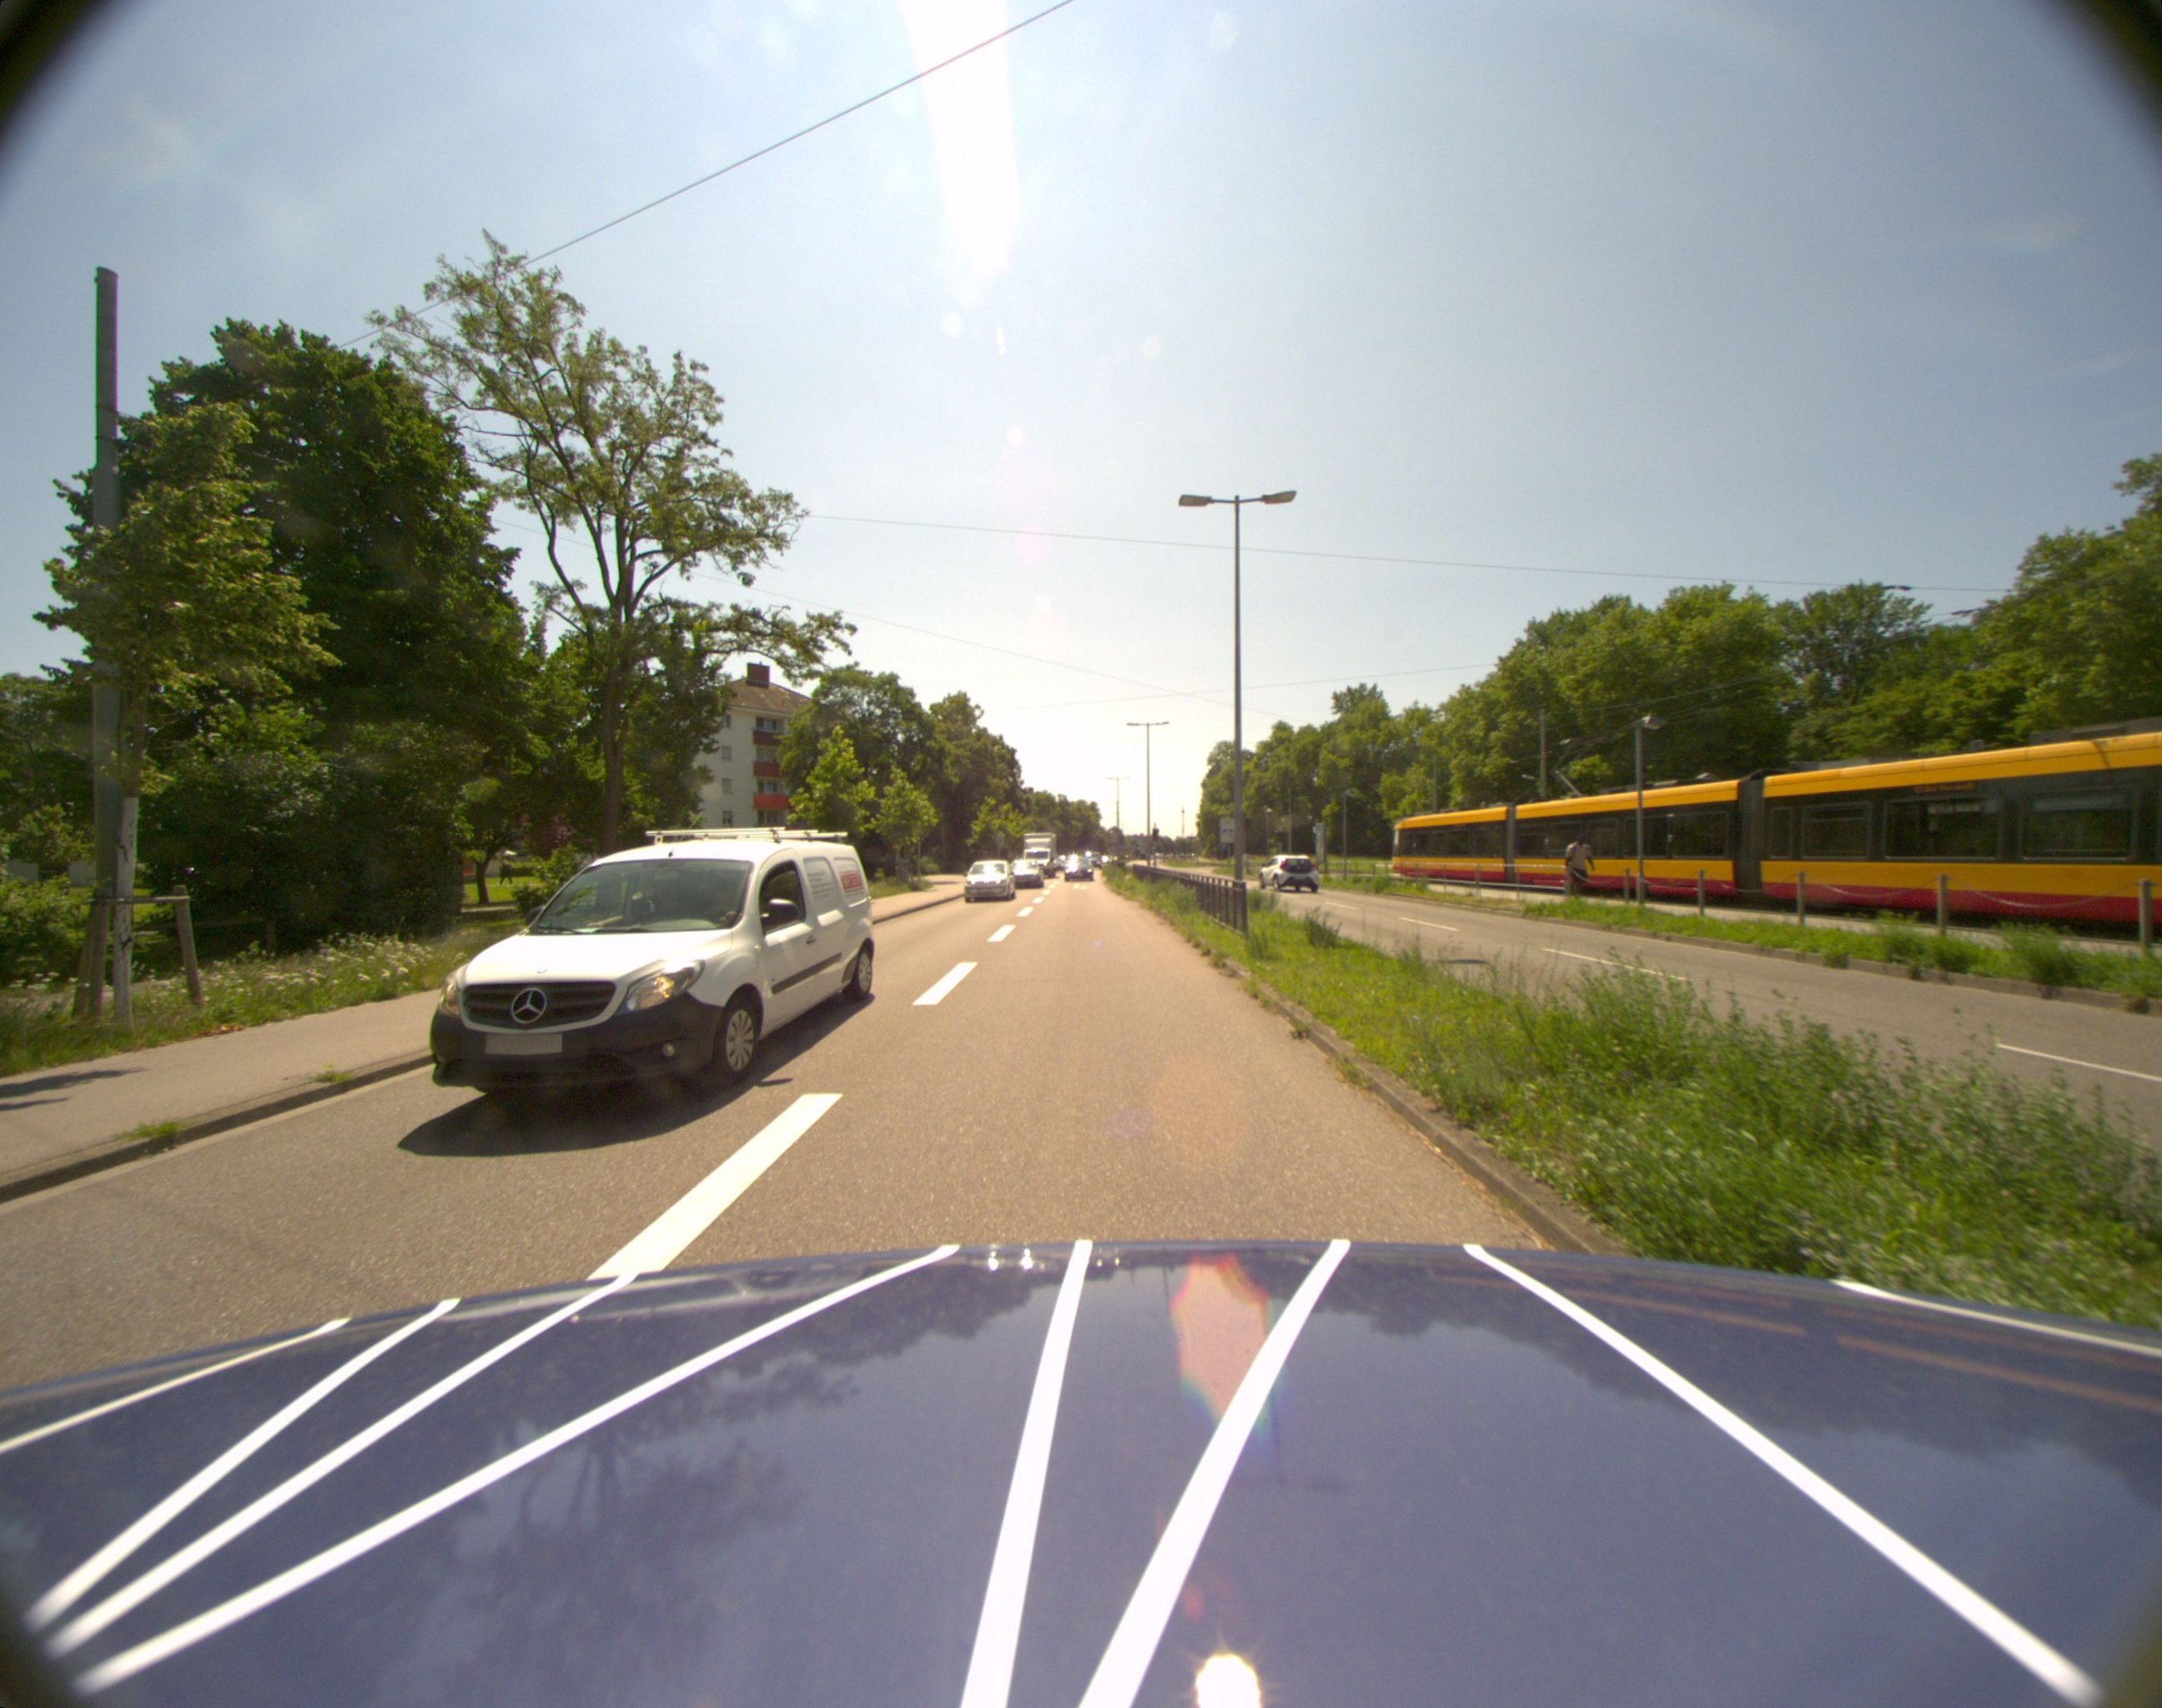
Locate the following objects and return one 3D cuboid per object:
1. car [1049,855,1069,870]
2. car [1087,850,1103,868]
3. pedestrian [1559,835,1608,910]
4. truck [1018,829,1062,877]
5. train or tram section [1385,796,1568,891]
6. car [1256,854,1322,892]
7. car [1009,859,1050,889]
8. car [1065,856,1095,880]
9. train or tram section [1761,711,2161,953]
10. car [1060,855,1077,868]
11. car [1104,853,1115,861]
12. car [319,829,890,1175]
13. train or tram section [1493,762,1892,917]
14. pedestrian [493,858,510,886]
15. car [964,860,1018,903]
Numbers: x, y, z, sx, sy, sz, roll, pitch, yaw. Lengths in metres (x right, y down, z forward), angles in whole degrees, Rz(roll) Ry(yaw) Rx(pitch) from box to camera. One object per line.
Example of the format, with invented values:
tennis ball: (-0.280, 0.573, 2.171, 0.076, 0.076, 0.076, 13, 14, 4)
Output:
car: (-2.128, 0.781, 74.666, 1.746, 1.382, 3.887, -1, 0, 2)
car: (1.577, 0.546, 83.419, 1.746, 1.840, 3.887, -1, 0, 2)
pedestrian: (12.396, 0.447, 18.767, 0.633, 1.781, 0.776, -2, 1, -1)
truck: (-2.966, -0.083, 56.761, 2.489, 3.277, 6.605, -1, 0, 3)
train or tram section: (18.677, -0.460, 37.226, 2.957, 3.833, 11.540, -2, 0, 1)
car: (8.749, 0.752, 32.211, 1.774, 1.496, 3.719, -1, 0, 0)
car: (-2.577, 0.979, 38.945, 1.618, 1.373, 4.115, -2, 0, 2)
car: (-0.019, 0.843, 47.208, 1.746, 1.382, 3.887, -1, 0, 2)
train or tram section: (18.320, -0.393, 12.197, 3.051, 3.745, 13.261, -2, 0, 1)
car: (-1.425, 0.881, 87.228, 1.618, 1.373, 4.115, -2, 0, 2)
car: (5.134, 0.515, 136.955, 1.745, 1.382, 3.889, -1, 0, 7)
car: (-3.260, 0.816, 6.737, 1.809, 1.845, 5.082, -2, 0, 0)
train or tram section: (18.542, -0.379, 25.087, 3.051, 3.719, 12.595, -2, 0, 1)
pedestrian: (-41.671, 1.291, 54.624, 0.886, 1.907, 0.757, -2, 1, 41)
car: (-3.350, 1.000, 28.834, 1.626, 1.433, 3.498, -2, 0, -1)
